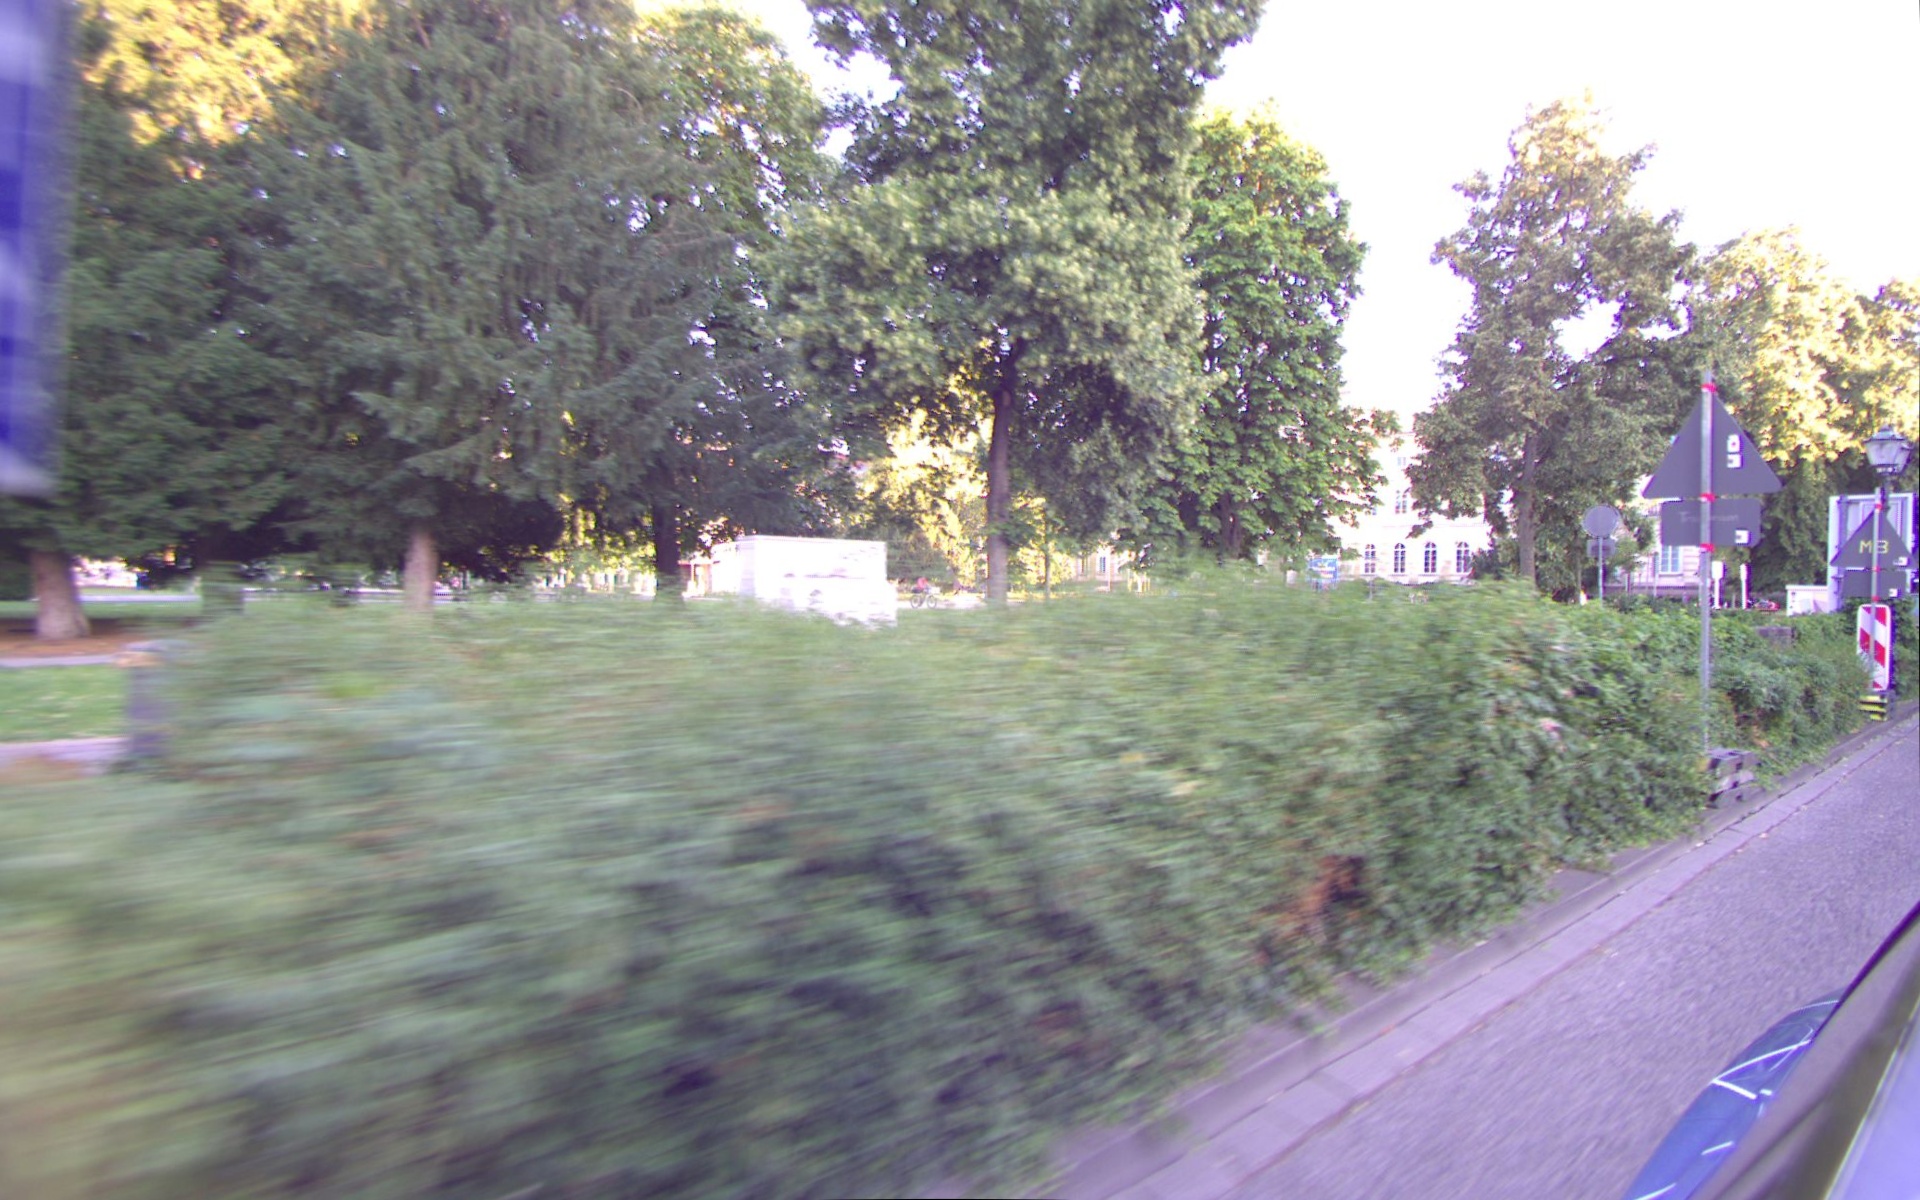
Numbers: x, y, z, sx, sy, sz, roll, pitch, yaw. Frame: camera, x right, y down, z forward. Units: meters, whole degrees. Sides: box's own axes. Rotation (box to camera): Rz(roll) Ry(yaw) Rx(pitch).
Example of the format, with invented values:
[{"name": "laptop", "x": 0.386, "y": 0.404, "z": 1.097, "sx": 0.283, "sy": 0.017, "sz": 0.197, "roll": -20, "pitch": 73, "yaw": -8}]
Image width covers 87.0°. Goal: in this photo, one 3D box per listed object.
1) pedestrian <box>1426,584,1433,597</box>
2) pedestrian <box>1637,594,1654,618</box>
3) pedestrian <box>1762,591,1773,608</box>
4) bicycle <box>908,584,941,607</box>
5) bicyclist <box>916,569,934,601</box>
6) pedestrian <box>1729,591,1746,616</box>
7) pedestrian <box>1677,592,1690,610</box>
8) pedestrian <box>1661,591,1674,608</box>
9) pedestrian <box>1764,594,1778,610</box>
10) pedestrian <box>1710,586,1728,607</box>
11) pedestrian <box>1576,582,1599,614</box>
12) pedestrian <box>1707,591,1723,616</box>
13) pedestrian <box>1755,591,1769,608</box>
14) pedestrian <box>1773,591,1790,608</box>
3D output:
[{"name": "pedestrian", "x": 46.109, "y": -0.948, "z": 99.424, "sx": 0.499, "sy": 1.304, "sz": 0.583, "roll": 1, "pitch": 0, "yaw": 43}, {"name": "pedestrian", "x": 35.688, "y": 0.288, "z": 52.701, "sx": 0.606, "sy": 1.229, "sz": 0.656, "roll": 1, "pitch": 0, "yaw": 43}, {"name": "pedestrian", "x": 53.433, "y": -0.038, "z": 66.956, "sx": 0.390, "sy": 1.064, "sz": 0.600, "roll": 1, "pitch": 1, "yaw": 18}, {"name": "bicycle", "x": -1.872, "y": -0.235, "z": 53.177, "sx": 1.762, "sy": 1.191, "sz": 0.559, "roll": 2, "pitch": 1, "yaw": 34}, {"name": "bicyclist", "x": -1.824, "y": -0.806, "z": 53.145, "sx": 0.672, "sy": 1.652, "sz": 0.651, "roll": 1, "pitch": 1, "yaw": 33}, {"name": "pedestrian", "x": 38.363, "y": 0.149, "z": 49.948, "sx": 0.606, "sy": 1.219, "sz": 0.656, "roll": 1, "pitch": 0, "yaw": 43}, {"name": "pedestrian", "x": 49.049, "y": 0.049, "z": 68.643, "sx": 0.594, "sy": 1.217, "sz": 0.394, "roll": 1, "pitch": 1, "yaw": 9}, {"name": "pedestrian", "x": 48.055, "y": -0.039, "z": 68.714, "sx": 0.593, "sy": 1.123, "sz": 0.395, "roll": 1, "pitch": 1, "yaw": 4}, {"name": "pedestrian", "x": 52.847, "y": 0.131, "z": 65.926, "sx": 0.595, "sy": 1.064, "sz": 0.394, "roll": 1, "pitch": 1, "yaw": 13}, {"name": "pedestrian", "x": 55.751, "y": -0.257, "z": 74.318, "sx": 0.742, "sy": 1.462, "sz": 0.815, "roll": 1, "pitch": 1, "yaw": 15}, {"name": "pedestrian", "x": 33.016, "y": -0.111, "z": 53.245, "sx": 0.745, "sy": 1.646, "sz": 0.857, "roll": 0, "pitch": 1, "yaw": -45}, {"name": "pedestrian", "x": 37.655, "y": 0.155, "z": 50.462, "sx": 0.526, "sy": 1.219, "sz": 0.955, "roll": 1, "pitch": 0, "yaw": 43}, {"name": "pedestrian", "x": 52.725, "y": -0.044, "z": 66.553, "sx": 0.595, "sy": 1.064, "sz": 0.393, "roll": 1, "pitch": 1, "yaw": 16}, {"name": "pedestrian", "x": 53.797, "y": -0.020, "z": 66.282, "sx": 0.785, "sy": 1.064, "sz": 0.394, "roll": 1, "pitch": 1, "yaw": 14}]
